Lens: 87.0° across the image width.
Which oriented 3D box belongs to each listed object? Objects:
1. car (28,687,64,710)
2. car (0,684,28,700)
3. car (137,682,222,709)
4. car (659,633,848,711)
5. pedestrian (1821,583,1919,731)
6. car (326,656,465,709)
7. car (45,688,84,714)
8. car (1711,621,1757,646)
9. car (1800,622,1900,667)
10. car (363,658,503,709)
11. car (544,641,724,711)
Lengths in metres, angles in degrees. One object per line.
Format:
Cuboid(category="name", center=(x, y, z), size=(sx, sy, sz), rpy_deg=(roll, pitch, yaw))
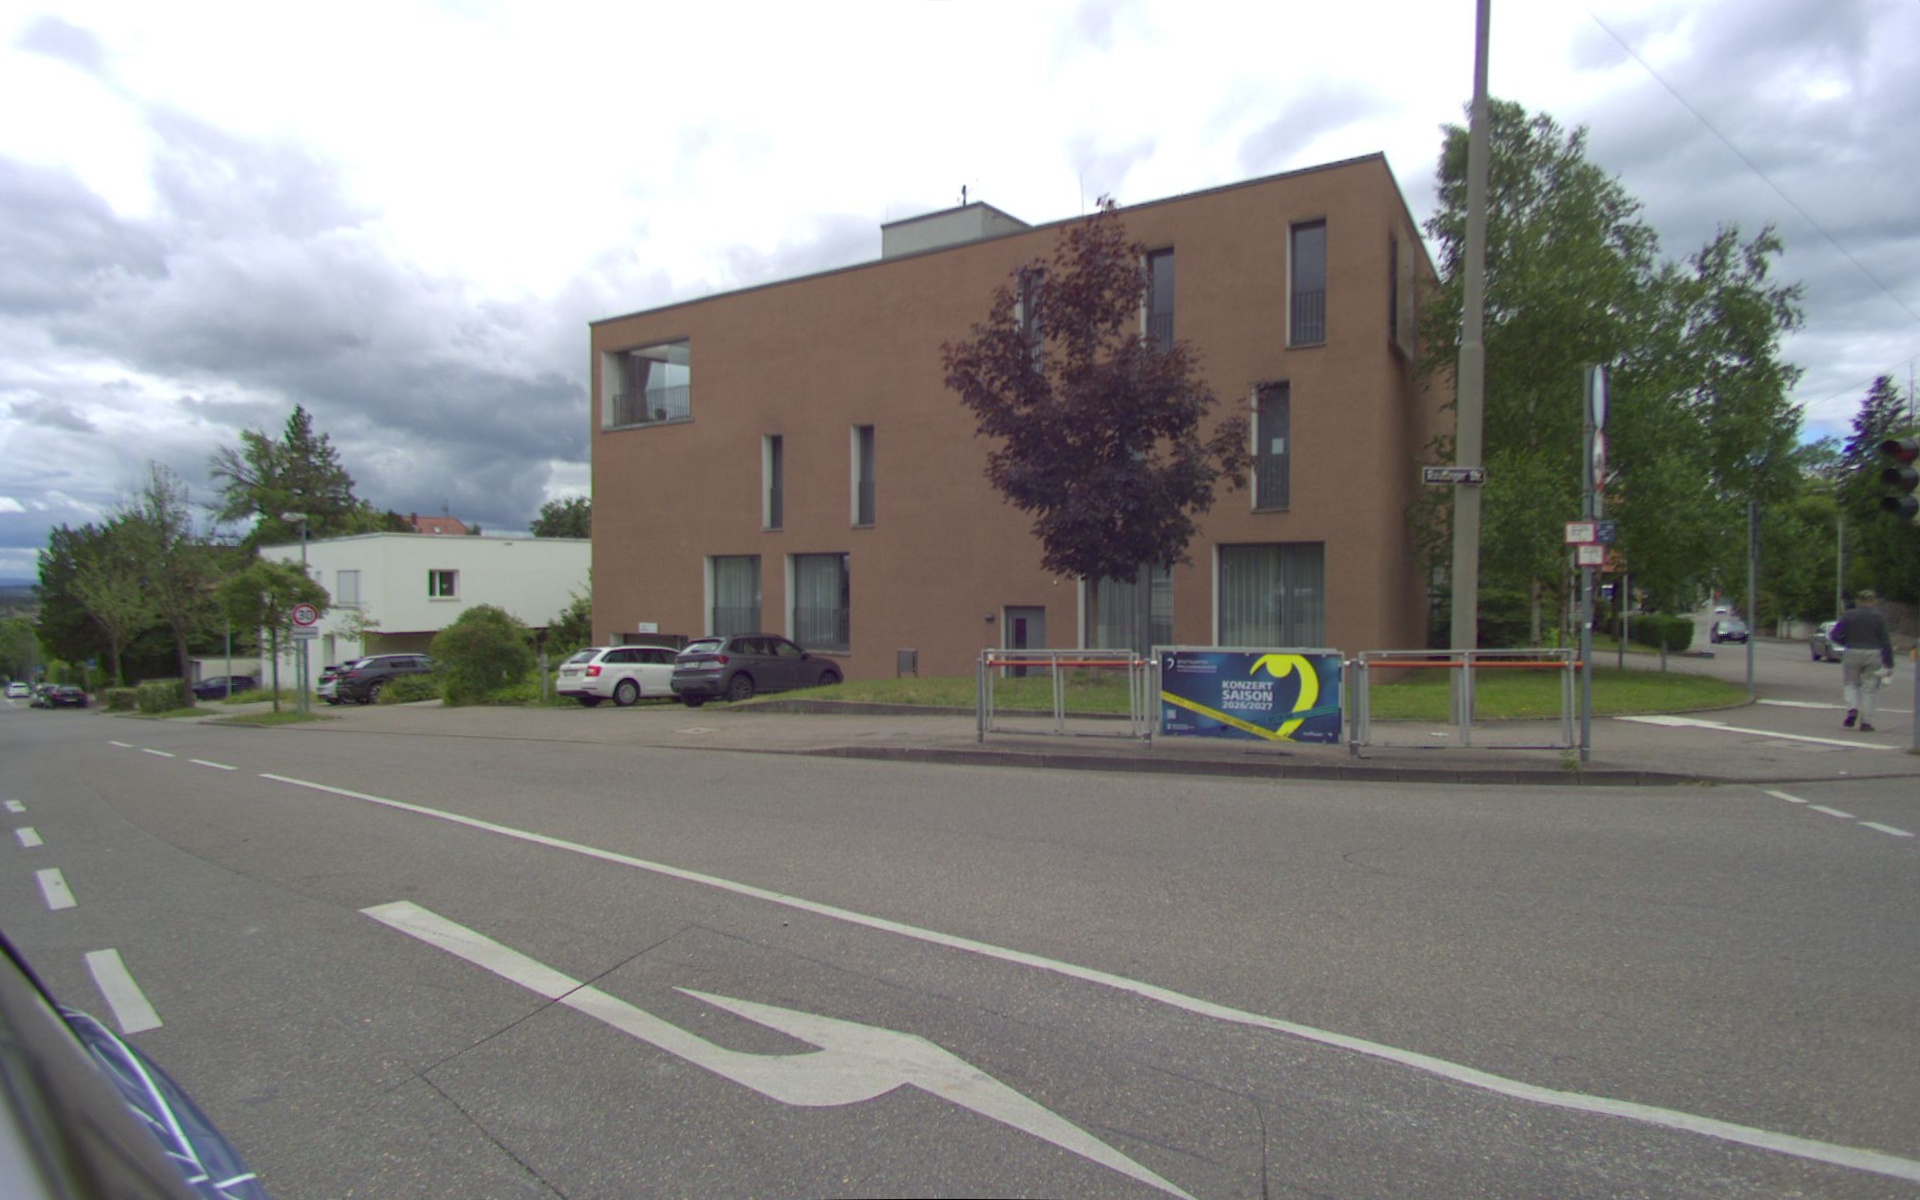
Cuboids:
Cuboid(category="car", center=(-61.562, 6.618, 68.132), size=(1.638, 1.432, 4.371), rpy_deg=(0, -4, -44))
Cuboid(category="car", center=(-95.915, 9.283, 102.334), size=(4.362, 1.432, 1.861), rpy_deg=(-3, -3, 38))
Cuboid(category="car", center=(-46.976, 5.729, 60.921), size=(3.939, 1.296, 1.665), rpy_deg=(0, -4, -43))
Cuboid(category="car", center=(-4.500, 1.565, 22.513), size=(1.724, 1.497, 3.950), rpy_deg=(-5, -4, 37))
Cuboid(category="pedestrian", center=(10.632, 0.653, 11.826), size=(0.728, 1.646, 0.685), rpy_deg=(1, -3, -38))
Cuboid(category="car", center=(-19.976, 2.893, 35.924), size=(1.793, 1.608, 3.943), rpy_deg=(-6, -4, 43))
Cuboid(category="car", center=(-54.938, 6.161, 62.054), size=(1.638, 1.432, 4.003), rpy_deg=(0, -4, -44))
Cuboid(category="car", center=(48.835, 2.090, 63.934), size=(1.825, 1.547, 3.957), rpy_deg=(-1, -2, 31))
Cuboid(category="car", center=(31.189, 1.522, 35.589), size=(1.702, 1.424, 4.381), rpy_deg=(-2, -1, 29))
Cuboid(category="car", center=(-18.233, 2.873, 35.139), size=(1.727, 1.497, 3.943), rpy_deg=(-6, -4, 43))
Cuboid(category="car", center=(-7.997, 1.847, 25.113), size=(1.724, 1.497, 3.950), rpy_deg=(-5, -4, 37))
